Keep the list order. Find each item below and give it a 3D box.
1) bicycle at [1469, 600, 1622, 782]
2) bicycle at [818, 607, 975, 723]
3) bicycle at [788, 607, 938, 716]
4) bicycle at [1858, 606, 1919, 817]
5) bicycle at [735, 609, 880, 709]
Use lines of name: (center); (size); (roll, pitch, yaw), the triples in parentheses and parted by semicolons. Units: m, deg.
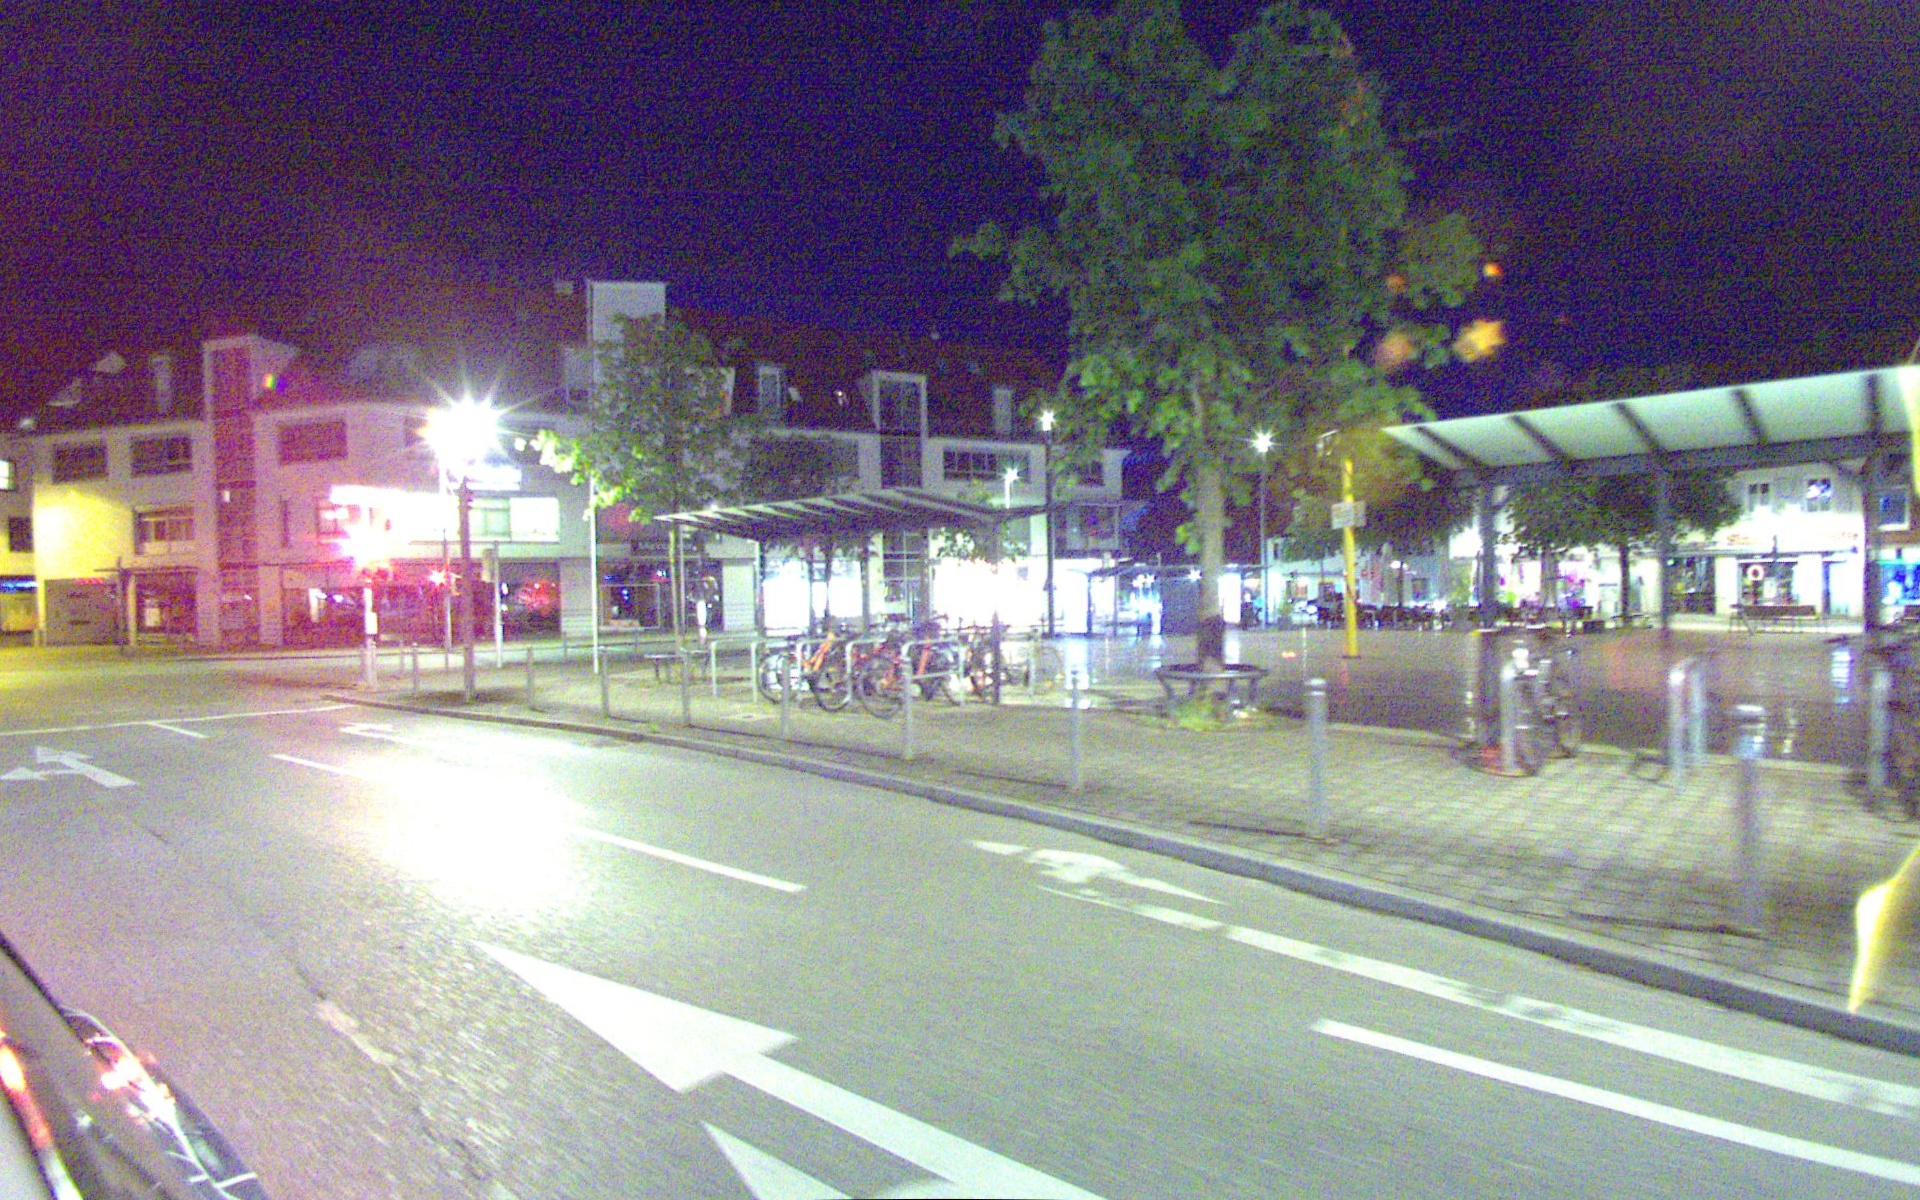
bicycle: (4.387, 0.605, 7.520); (0.670, 1.173, 1.751); (-1, 0, 40)
bicycle: (-0.734, 0.729, 12.077); (1.715, 1.175, 0.787); (-5, 2, -45)
bicycle: (-1.189, 0.724, 12.646); (1.715, 1.166, 0.787); (-5, 3, -45)
bicycle: (5.815, 0.610, 6.009); (0.670, 1.114, 1.599); (0, 1, 40)
bicycle: (-2.069, 0.766, 13.917); (1.813, 1.166, 0.787); (-5, 3, -45)
